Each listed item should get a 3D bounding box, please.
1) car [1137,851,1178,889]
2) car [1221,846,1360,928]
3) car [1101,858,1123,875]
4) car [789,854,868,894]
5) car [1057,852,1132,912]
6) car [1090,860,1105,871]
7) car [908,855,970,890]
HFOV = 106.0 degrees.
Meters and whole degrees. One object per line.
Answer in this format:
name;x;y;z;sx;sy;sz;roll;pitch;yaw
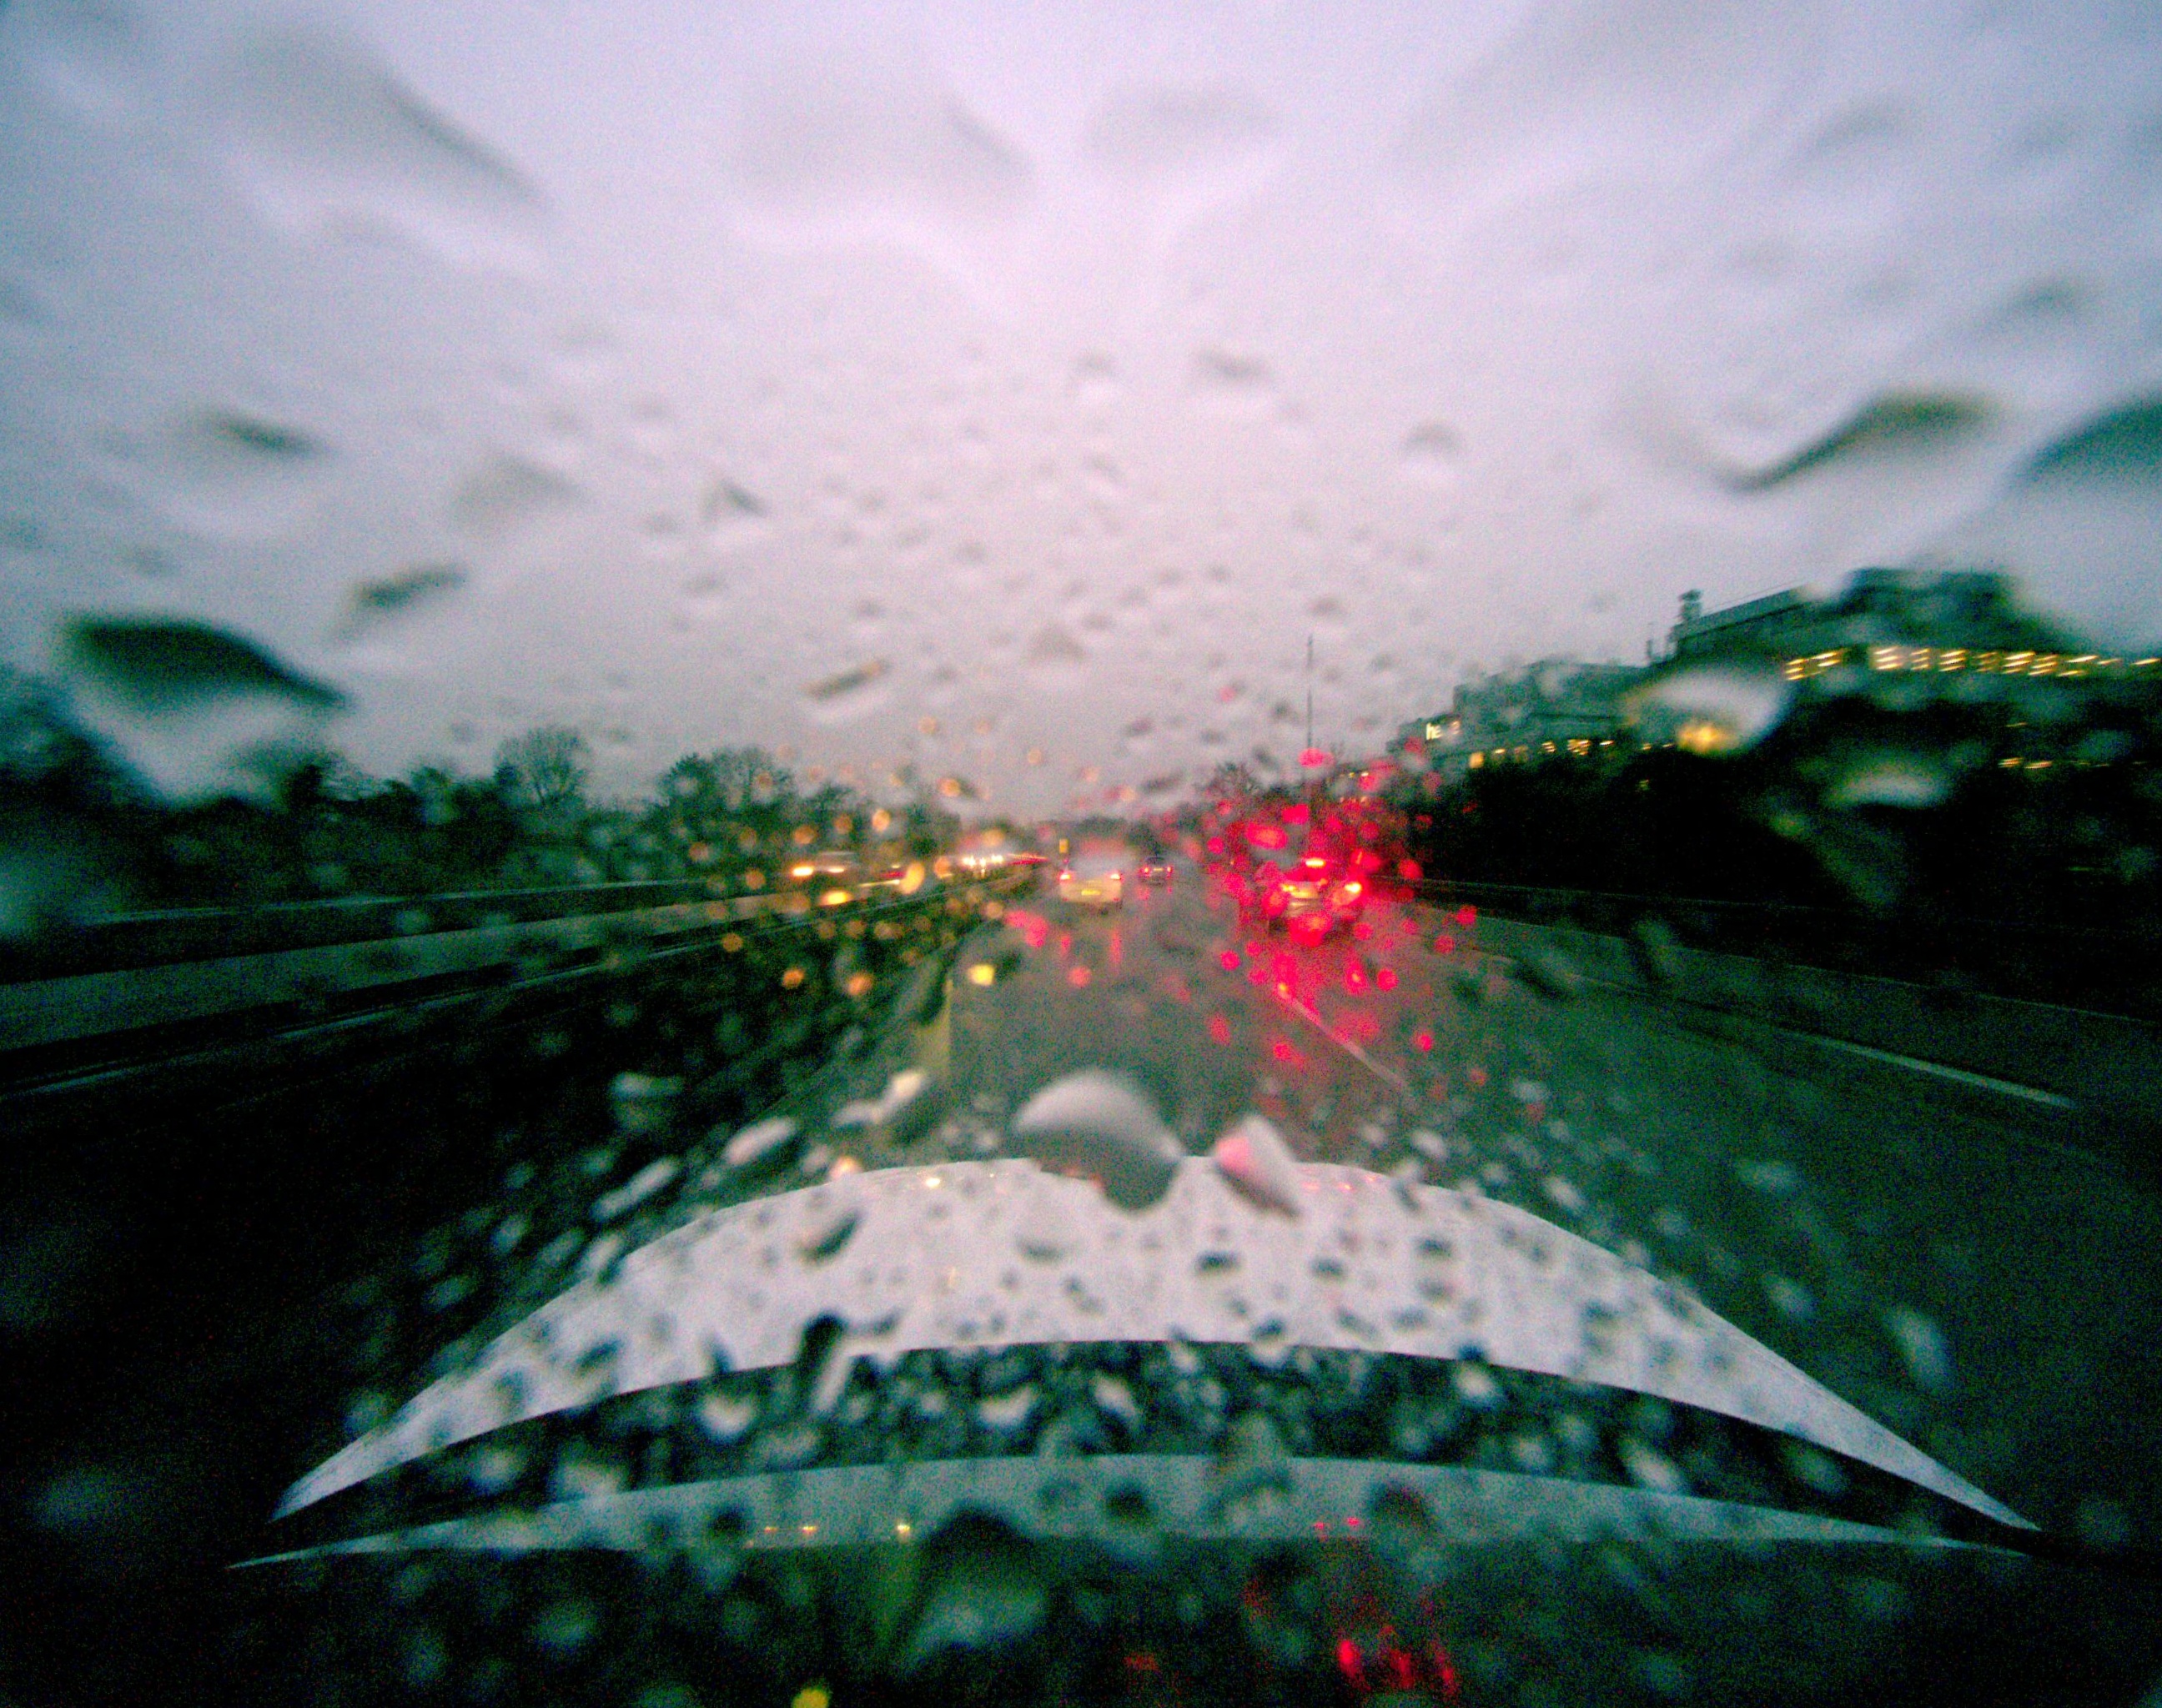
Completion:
car;4.172;0.851;44.715;1.926;2.019;3.773;0;0;0
car;4.247;0.620;17.203;1.843;1.501;4.261;0;0;0
car;3.230;1.255;85.585;1.927;1.546;3.771;-6;-1;-2
car;-10.958;0.818;35.713;1.859;1.627;4.780;0;0;1
car;0.313;0.759;23.787;2.019;1.575;3.997;0;0;-2
car;2.160;1.527;109.000;1.926;1.546;3.772;0;0;-1
car;-6.135;0.762;35.677;1.859;1.449;4.646;0;0;1
